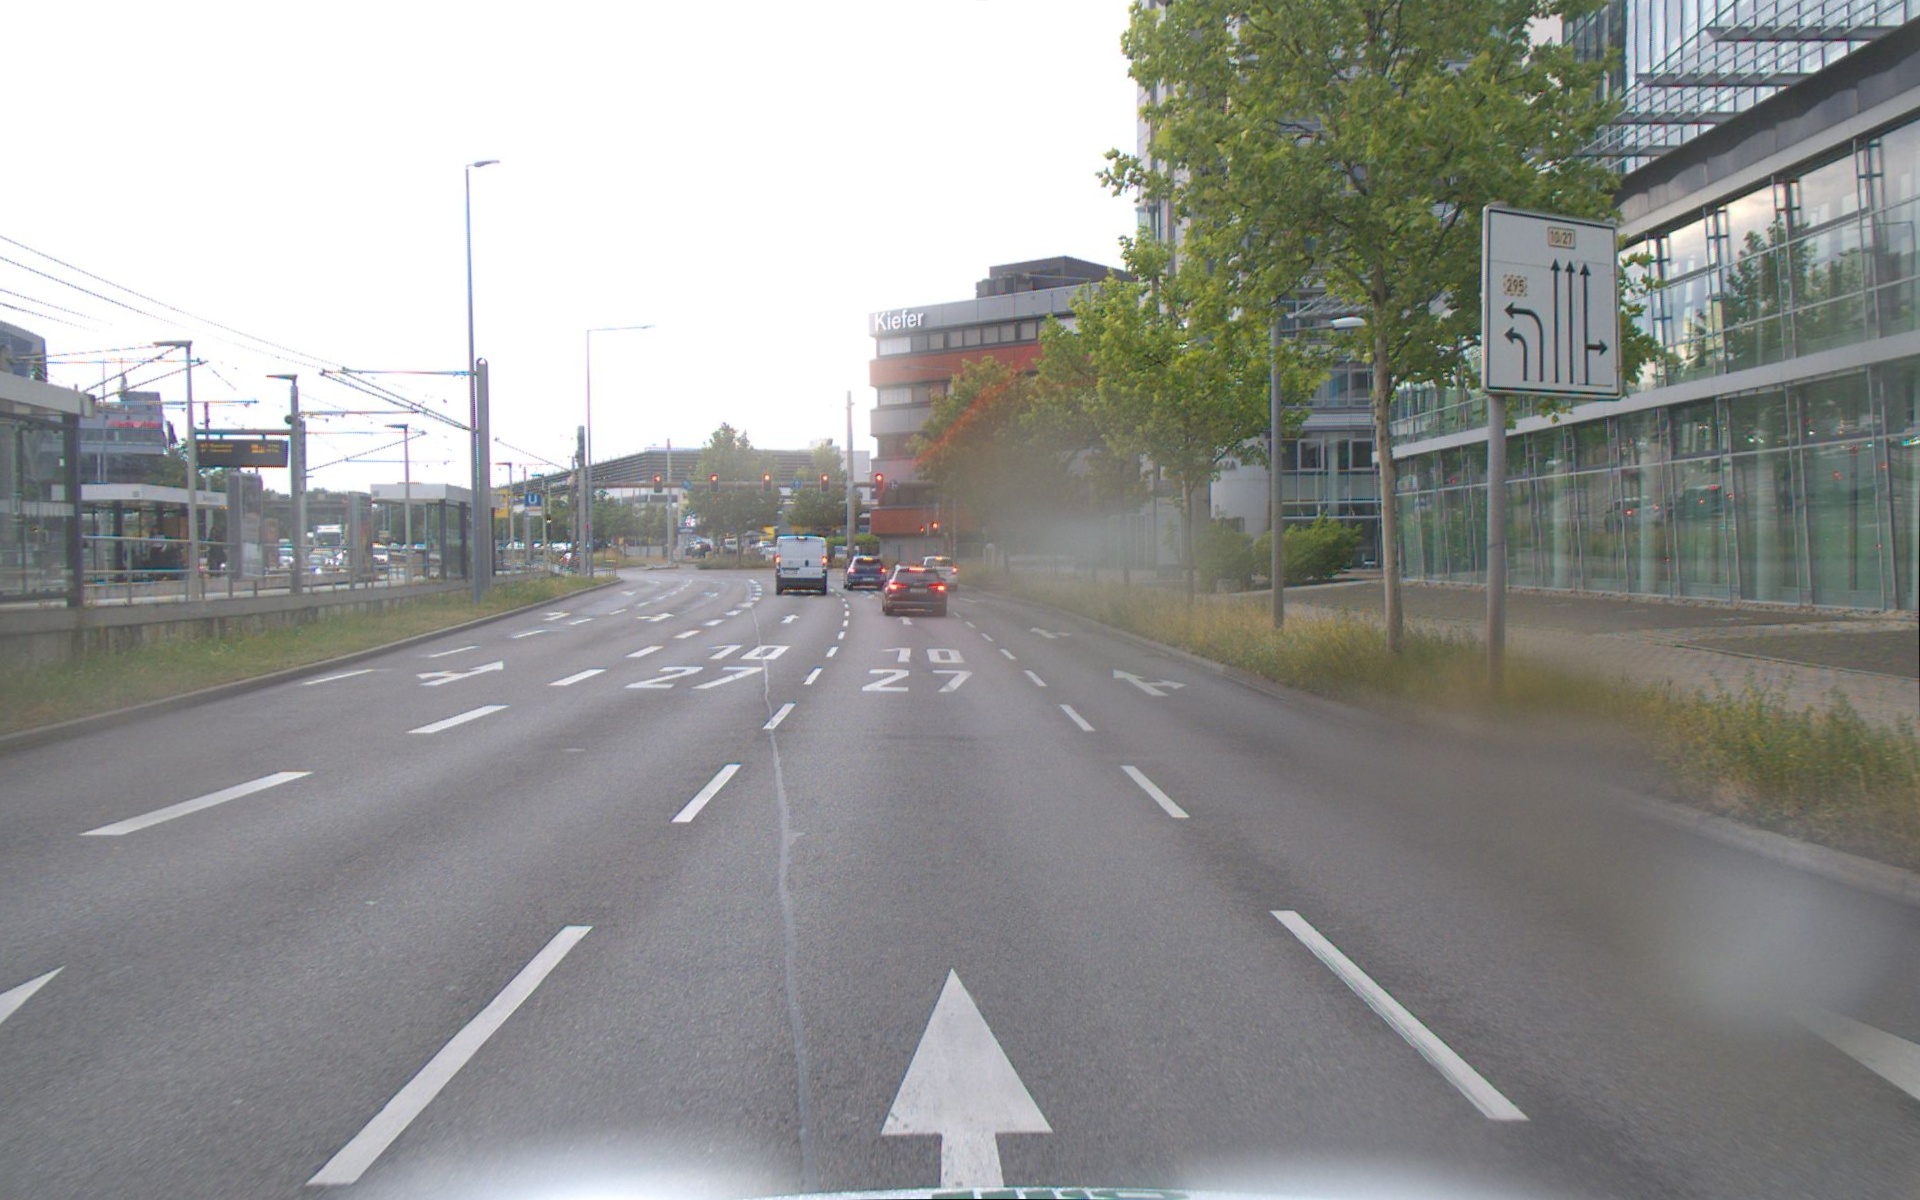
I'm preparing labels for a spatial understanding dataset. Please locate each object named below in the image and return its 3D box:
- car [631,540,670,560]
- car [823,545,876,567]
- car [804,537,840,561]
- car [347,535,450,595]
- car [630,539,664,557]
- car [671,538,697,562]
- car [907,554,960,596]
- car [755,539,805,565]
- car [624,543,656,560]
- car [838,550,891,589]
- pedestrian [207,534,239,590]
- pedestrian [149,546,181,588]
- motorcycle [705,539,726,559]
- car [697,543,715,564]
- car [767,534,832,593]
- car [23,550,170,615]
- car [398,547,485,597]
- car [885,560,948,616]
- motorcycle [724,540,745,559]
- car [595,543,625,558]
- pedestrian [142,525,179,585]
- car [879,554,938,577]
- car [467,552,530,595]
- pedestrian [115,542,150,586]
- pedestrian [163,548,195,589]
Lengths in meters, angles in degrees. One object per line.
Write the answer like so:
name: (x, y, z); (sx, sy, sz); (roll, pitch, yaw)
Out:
car: (-35.212, -5.701, 188.161); (3.934, 2.049, 1.985); (1, -2, -24)
car: (-8.572, -3.372, 128.156); (3.931, 1.651, 2.015); (1, 0, 43)
car: (-13.395, -4.915, 160.021); (1.973, 2.049, 3.957); (1, -2, -31)
car: (-15.731, -1.021, 46.558); (1.955, 1.477, 3.844); (1, 4, -6)
car: (-39.498, -6.542, 208.527); (3.934, 2.049, 1.985); (1, -2, -24)
car: (-27.255, -4.909, 163.178); (1.962, 2.049, 3.980); (1, -2, -17)
car: (-1.203, -1.128, 72.869); (1.982, 1.800, 3.995); (1, 1, -6)
car: (-14.868, -3.954, 136.604); (3.931, 2.049, 1.987); (2, 0, 43)
car: (-43.410, -6.582, 224.587); (3.934, 2.049, 1.985); (1, -2, -24)
car: (-4.230, -1.323, 72.642); (1.983, 1.651, 3.993); (1, 0, -8)
pedestrian: (-24.219, -1.231, 54.363); (0.738, 1.782, 0.763); (1, -2, -6)
pedestrian: (-24.995, -1.037, 51.999); (0.713, 1.275, 0.730); (1, -1, -8)
motorcycle: (-29.927, -6.234, 202.453); (1.962, 2.049, 3.981); (1, -2, -17)
car: (-27.566, -5.074, 179.668); (1.786, 2.049, 3.460); (1, -2, -12)
car: (-6.399, -1.440, 66.324); (2.462, 2.215, 5.144); (1, 1, -5)
car: (-19.249, -0.419, 37.030); (1.823, 1.359, 3.330); (1, 2, -7)
car: (-16.740, -0.882, 53.576); (1.955, 1.478, 3.841); (1, -1, -7)
car: (-1.231, -0.390, 48.423); (1.728, 1.488, 4.627); (1, 1, 0)
motorcycle: (-27.686, -6.214, 203.297); (1.962, 2.049, 3.981); (1, -2, -17)
car: (-50.739, -7.155, 239.501); (3.934, 2.049, 1.985); (1, -2, -24)
pedestrian: (-23.821, -1.336, 49.304); (0.715, 1.745, 0.830); (1, -1, -6)
car: (-3.854, -2.584, 123.259); (4.251, 1.651, 2.015); (1, 0, 43)
car: (-20.159, -1.157, 72.405); (1.956, 1.704, 3.842); (3, 0, -7)
pedestrian: (-24.895, -1.072, 49.756); (0.713, 1.275, 0.730); (1, -1, -8)
pedestrian: (-24.977, -1.003, 52.917); (0.713, 1.275, 0.730); (1, -1, -8)
